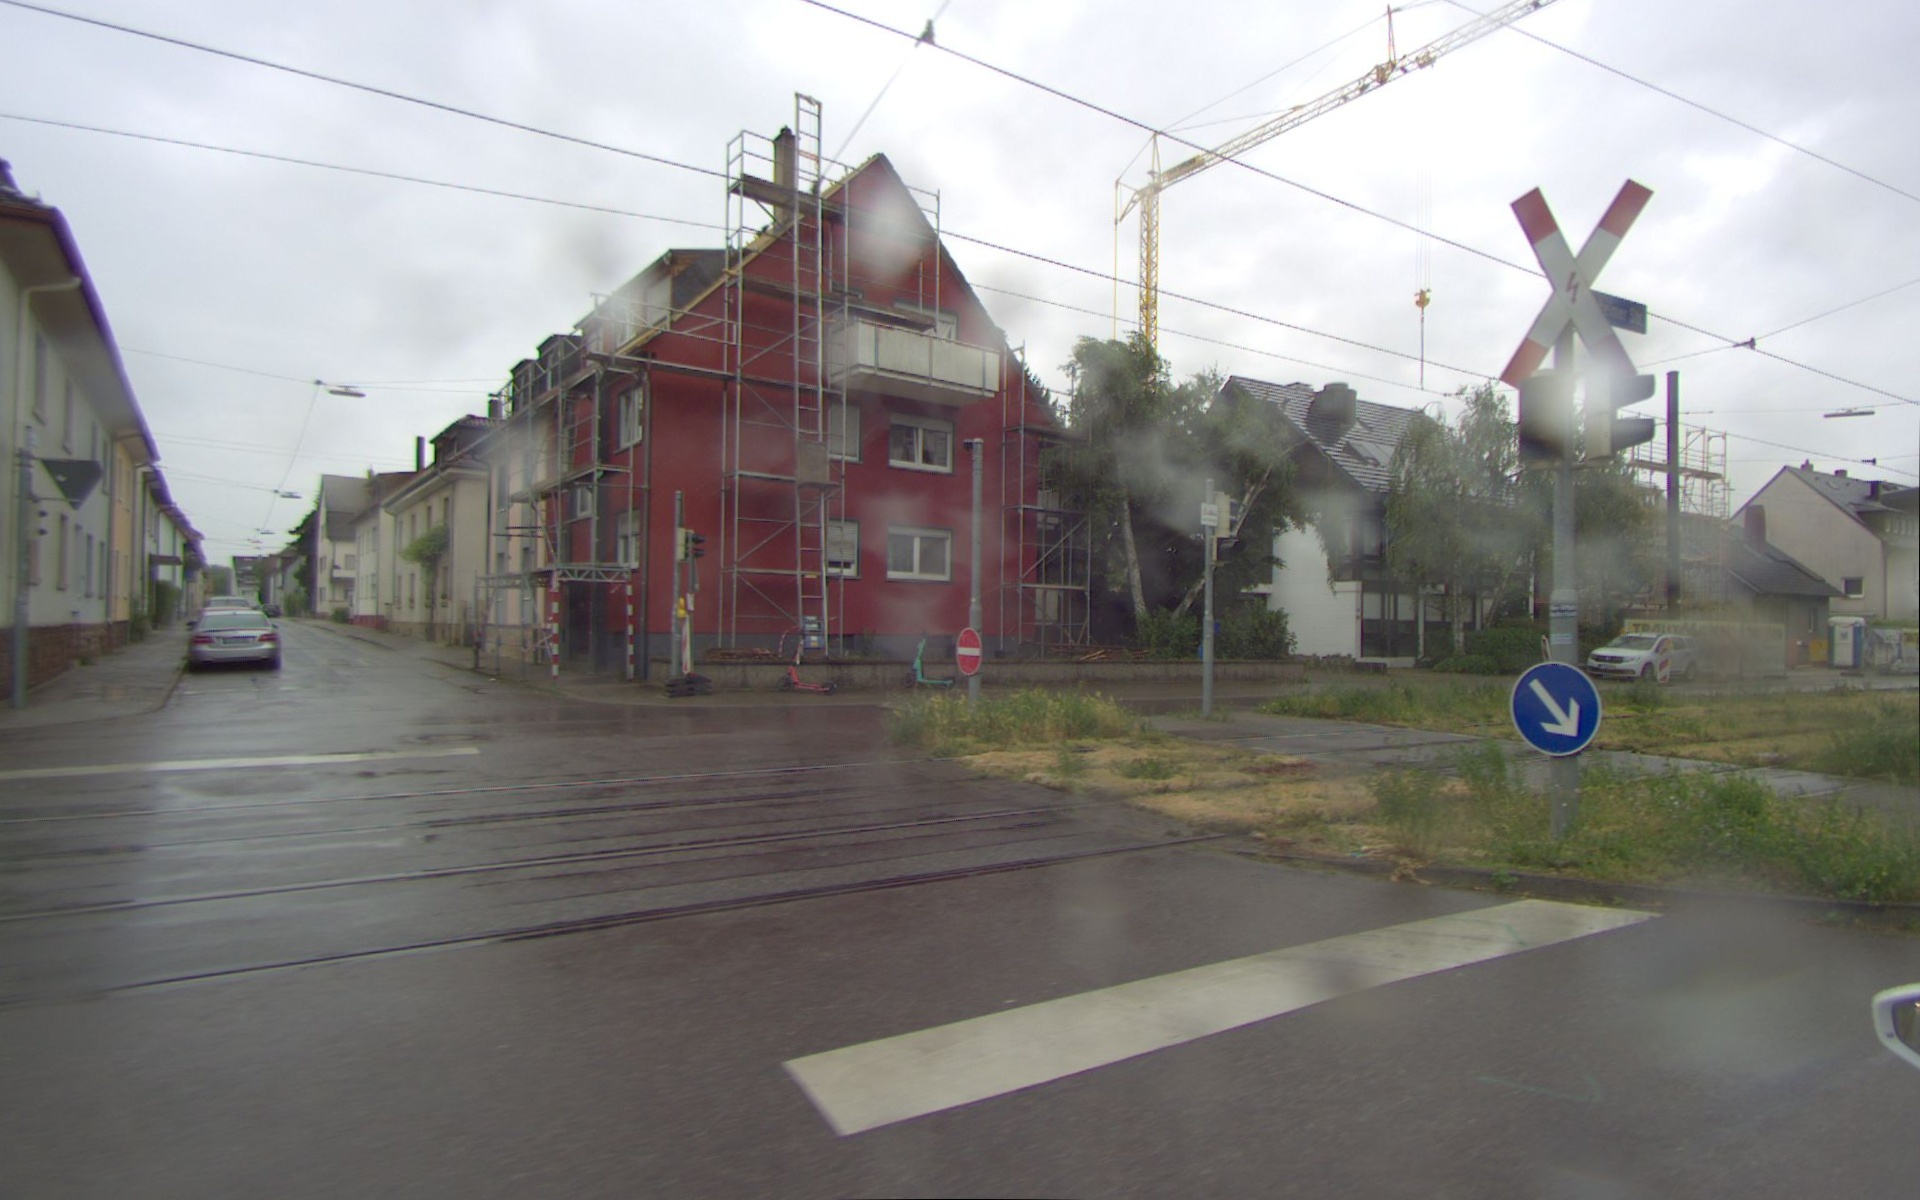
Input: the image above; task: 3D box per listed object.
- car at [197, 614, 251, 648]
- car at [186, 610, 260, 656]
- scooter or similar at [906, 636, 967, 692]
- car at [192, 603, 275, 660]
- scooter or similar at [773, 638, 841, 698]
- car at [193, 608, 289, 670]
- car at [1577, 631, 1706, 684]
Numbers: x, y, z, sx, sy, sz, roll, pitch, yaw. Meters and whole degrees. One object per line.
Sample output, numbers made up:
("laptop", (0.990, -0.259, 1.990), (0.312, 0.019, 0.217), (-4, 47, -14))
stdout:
("car", (-31.768, 1.336, 43.318), (1.776, 1.385, 4.319), (2, -2, -37))
("car", (-24.296, 1.068, 33.081), (1.826, 1.397, 4.319), (2, -2, -37))
("scooter or similar", (-0.509, 1.379, 21.692), (1.261, 1.196, 0.394), (1, -1, -16))
("car", (-21.398, 0.901, 29.539), (1.826, 1.540, 4.319), (2, -2, -37))
("scooter or similar", (-3.028, 1.342, 19.922), (1.257, 1.144, 0.441), (1, -1, 0))
("car", (-18.254, 0.961, 25.444), (1.826, 1.419, 4.319), (2, -2, -37))
("car", (22.525, 1.862, 33.178), (4.368, 1.563, 1.703), (1, 1, -29))
